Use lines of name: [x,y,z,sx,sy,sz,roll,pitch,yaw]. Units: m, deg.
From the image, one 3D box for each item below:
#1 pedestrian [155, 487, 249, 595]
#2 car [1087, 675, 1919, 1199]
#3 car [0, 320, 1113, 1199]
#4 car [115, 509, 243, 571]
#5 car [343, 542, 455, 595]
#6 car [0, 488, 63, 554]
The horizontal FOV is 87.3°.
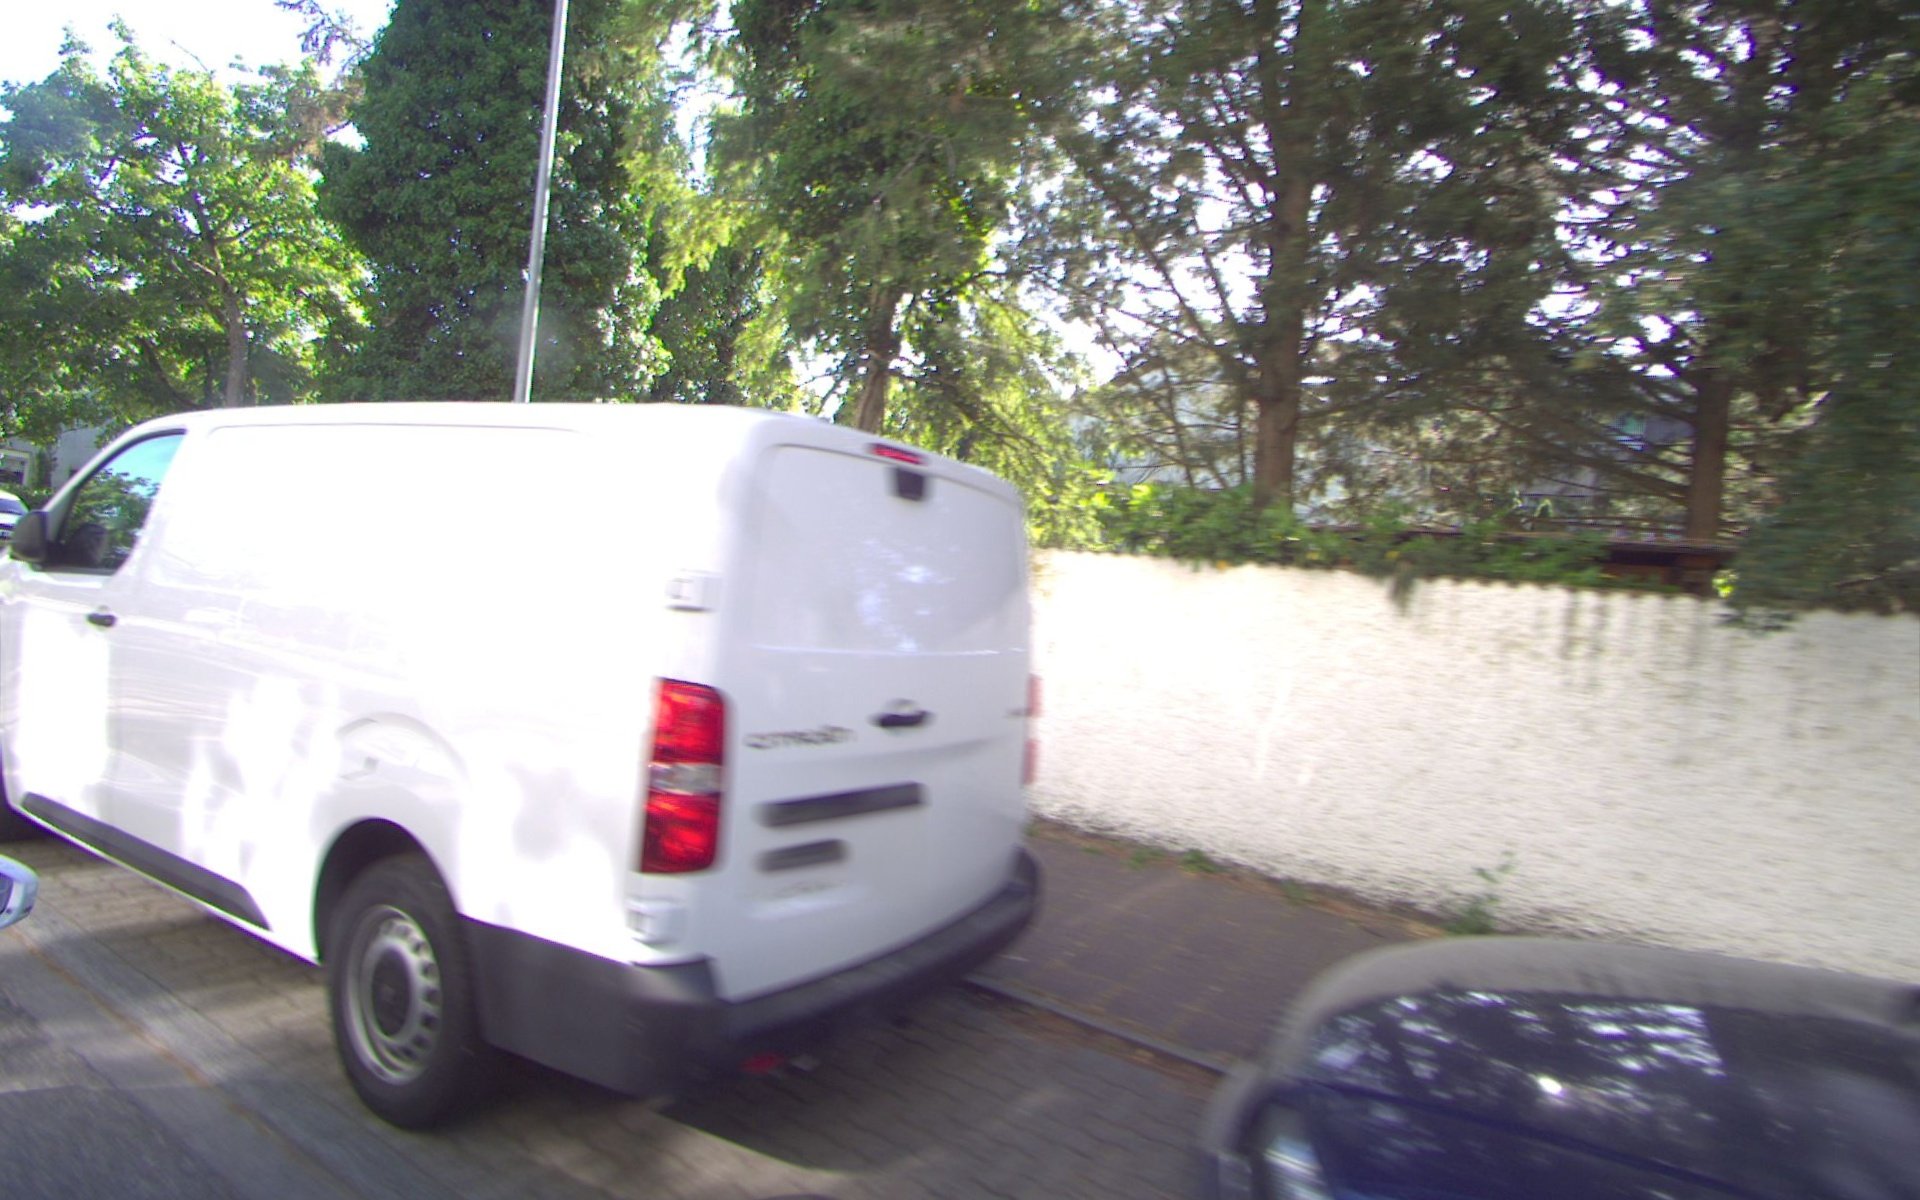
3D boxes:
pedestrian: [-13.102,-1.000,17.401,0.823,1.705,0.807,8,1,1]
car: [2.440,1.096,1.158,4.213,1.441,1.827,7,0,33]
car: [-2.188,0.252,4.078,5.064,1.938,1.900,7,1,33]
car: [-25.543,-1.971,32.868,4.097,1.423,1.826,8,1,30]
car: [-21.640,-1.226,38.775,4.097,1.423,1.826,8,1,30]
car: [-28.040,-2.433,29.127,4.097,1.618,1.826,8,1,30]
